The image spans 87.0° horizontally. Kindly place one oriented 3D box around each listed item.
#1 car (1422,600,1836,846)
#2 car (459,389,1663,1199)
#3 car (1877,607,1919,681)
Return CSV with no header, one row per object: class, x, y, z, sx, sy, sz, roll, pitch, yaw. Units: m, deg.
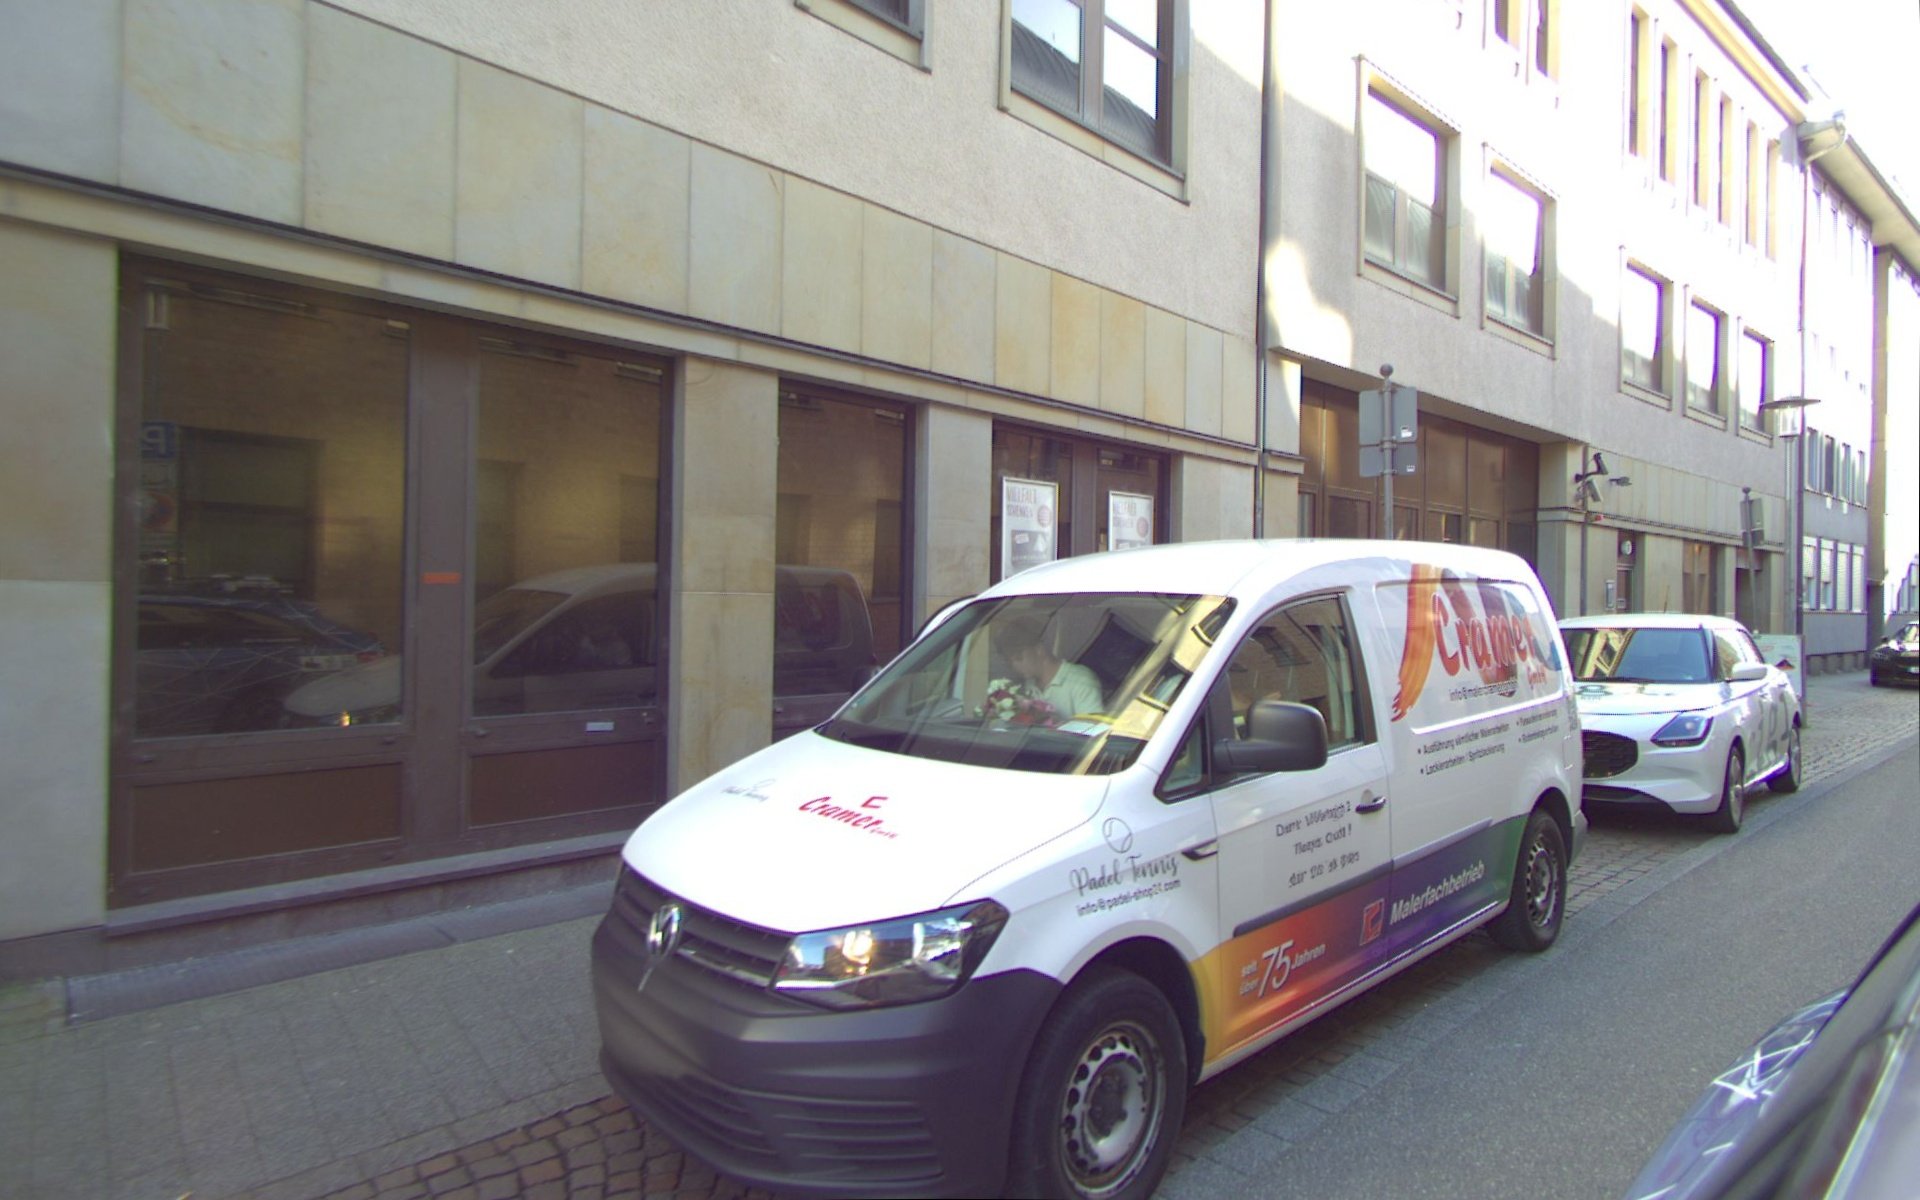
car,5.580,0.788,8.234,4.096,1.497,1.842,1,-2,-42
car,1.018,0.577,4.041,5.124,1.814,1.833,0,-1,-42
car,21.438,0.902,21.601,5.129,1.472,1.898,1,-1,-38
